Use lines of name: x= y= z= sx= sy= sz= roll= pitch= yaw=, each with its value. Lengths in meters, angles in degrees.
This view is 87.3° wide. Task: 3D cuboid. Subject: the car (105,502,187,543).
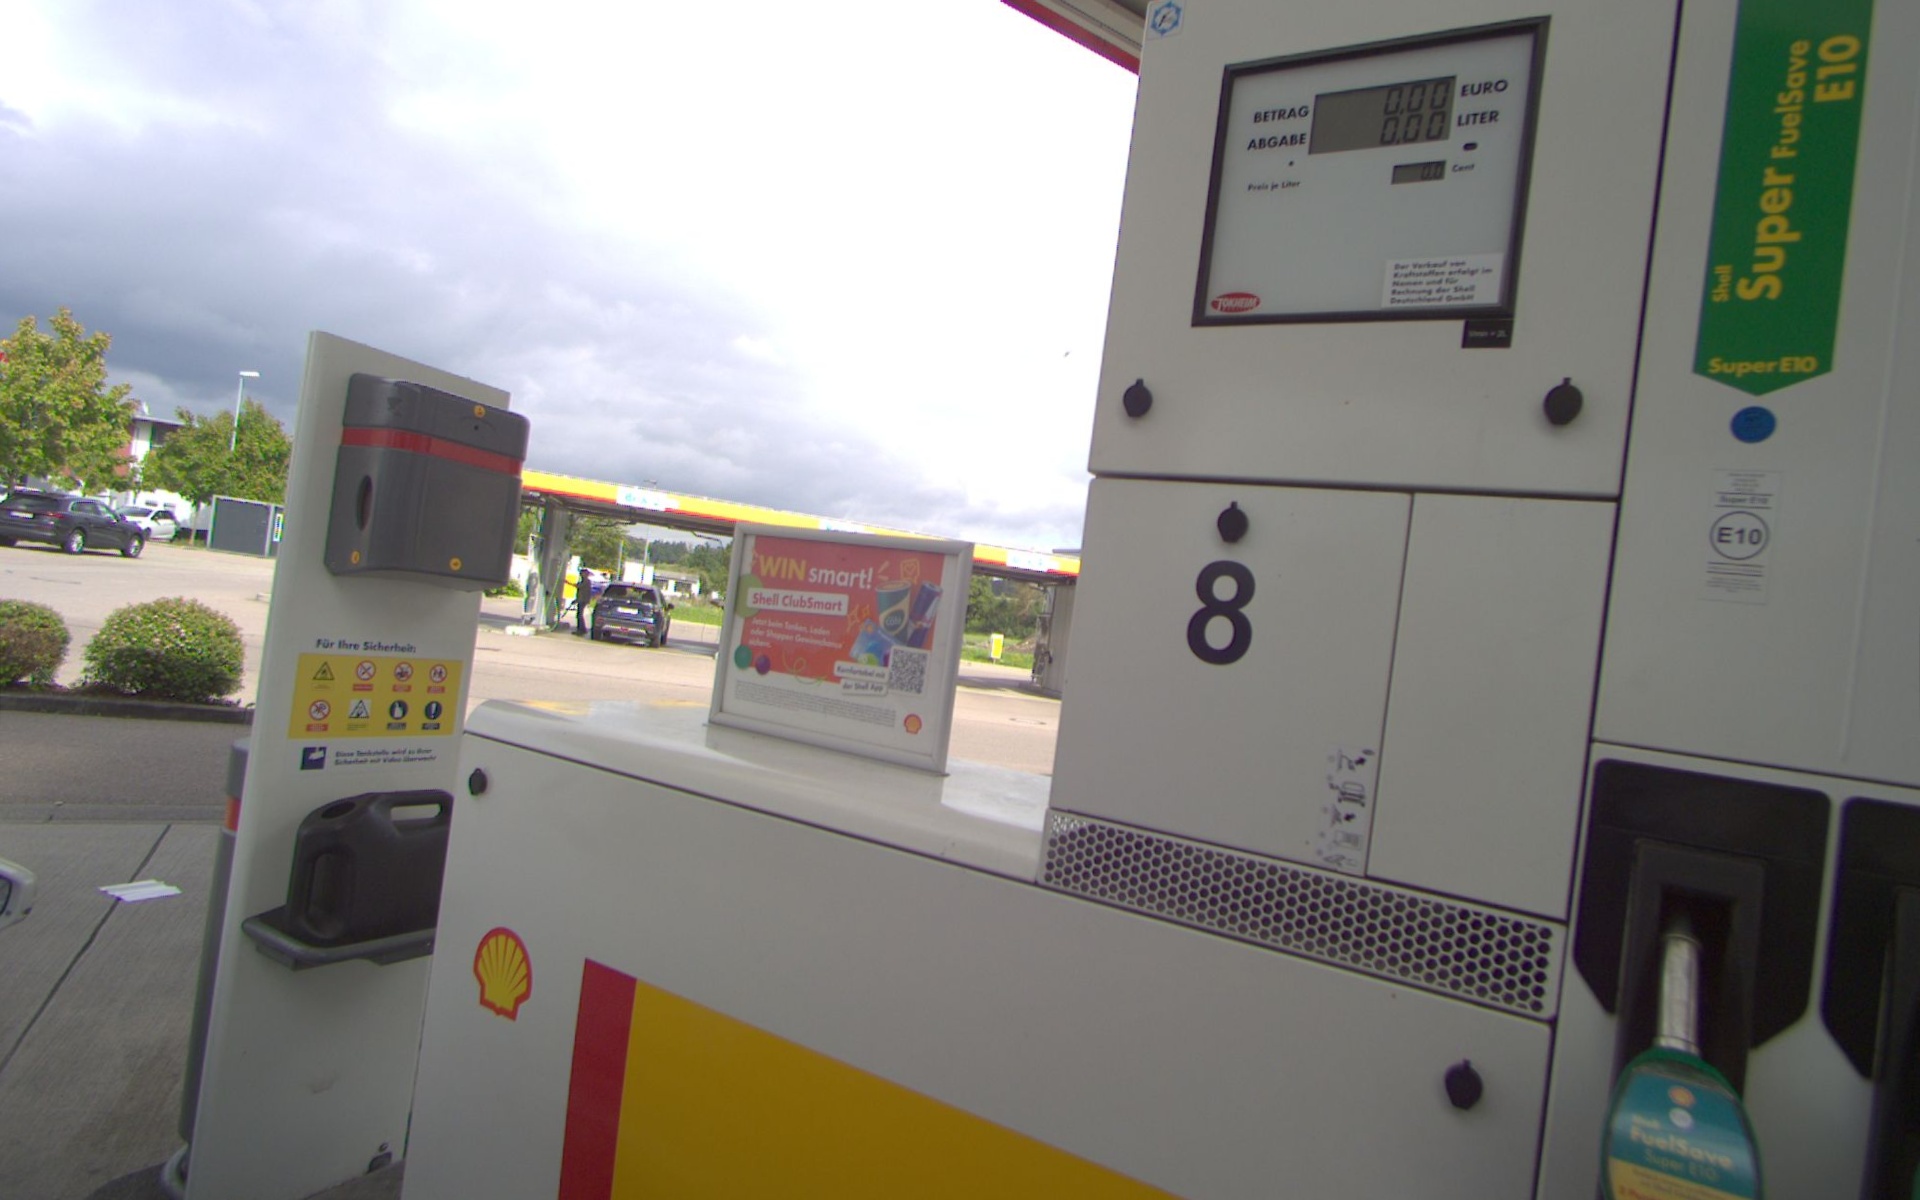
car: x=-35.253 y=-3.339 z=43.647 sx=1.346 sy=1.322 sz=3.098 roll=8 pitch=-2 yaw=-12

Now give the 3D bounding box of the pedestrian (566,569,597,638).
pedestrian: x=-10.072 y=0.094 z=26.800 sx=0.550 sy=1.742 sz=0.526 roll=7 pitch=-1 yaw=-20

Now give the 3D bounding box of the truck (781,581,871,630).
truck: x=-13.009 y=0.563 z=97.507 sx=7.978 sy=3.575 sz=2.687 roll=8 pitch=-2 yaw=-19

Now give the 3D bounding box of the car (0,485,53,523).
car: x=-57.353 y=-5.901 z=60.243 sx=2.149 sy=1.854 sz=4.870 roll=8 pitch=-2 yaw=-11

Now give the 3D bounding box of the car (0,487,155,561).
car: x=-25.923 y=-2.168 z=29.261 sx=1.855 sy=1.566 sz=4.498 roll=8 pitch=-2 yaw=-10

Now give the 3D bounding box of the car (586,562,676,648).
car: x=-8.691 y=0.149 z=26.862 sx=1.696 sy=1.919 sz=3.800 roll=8 pitch=-2 yaw=-12
